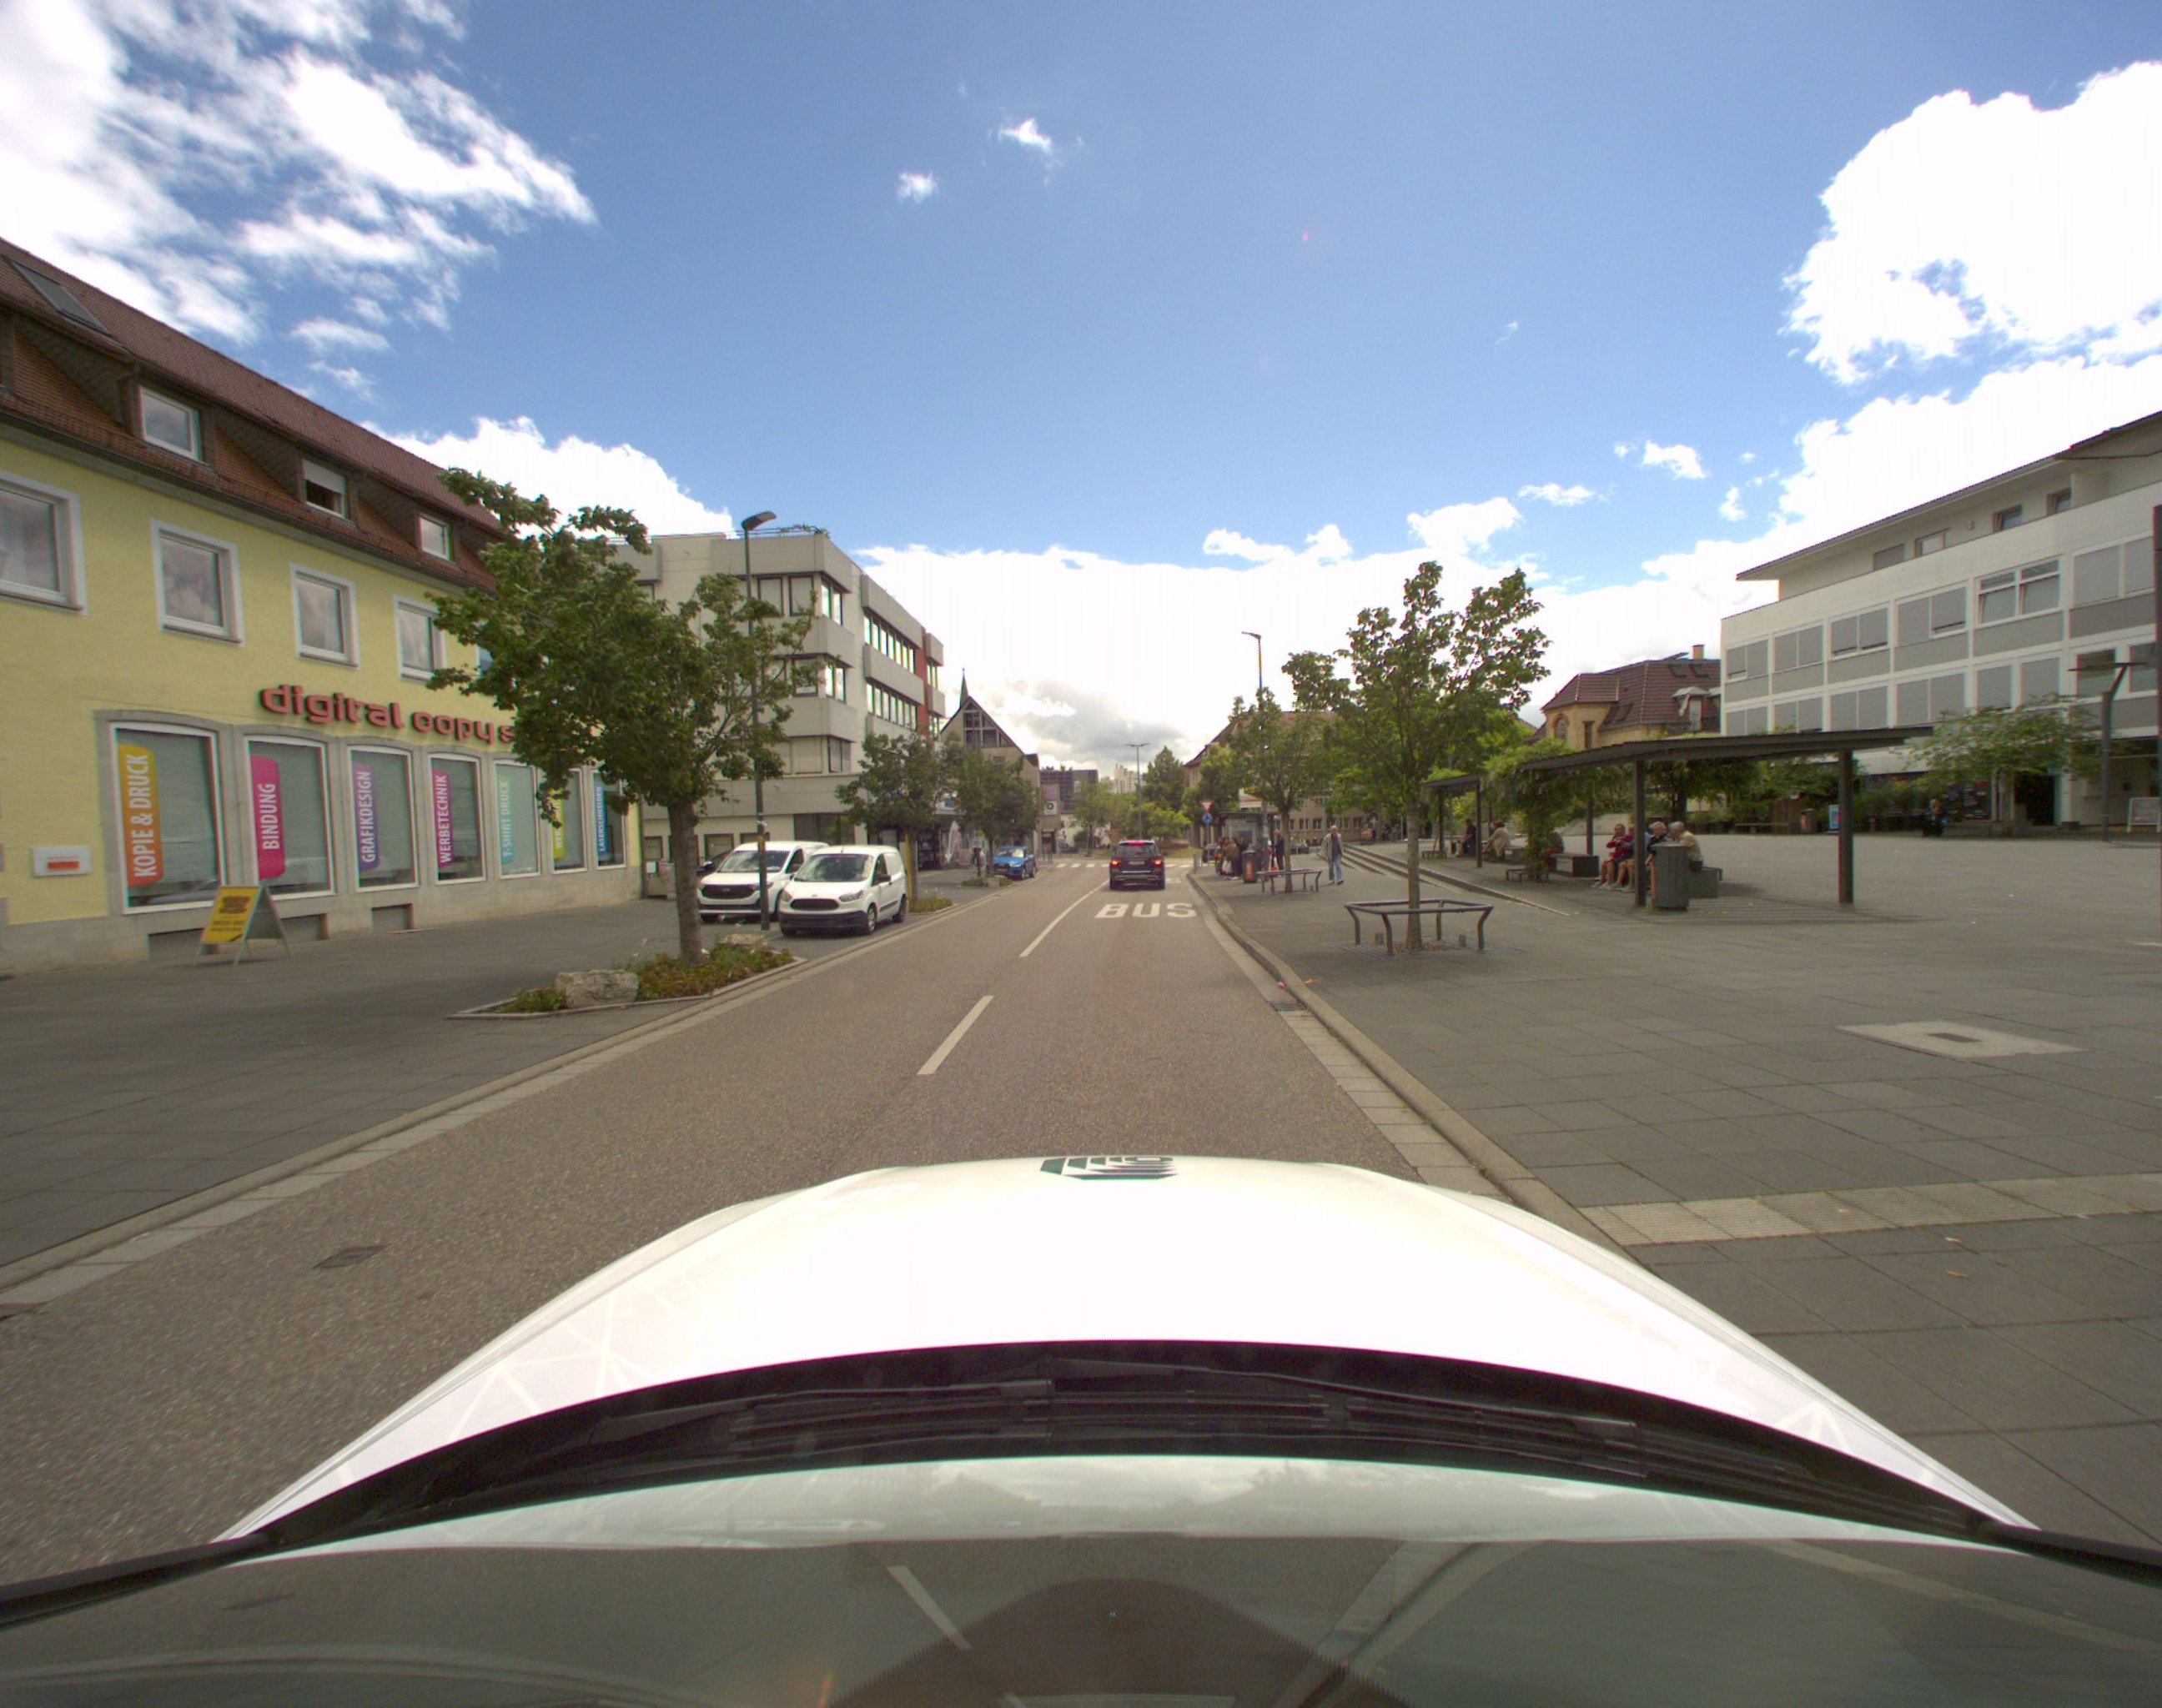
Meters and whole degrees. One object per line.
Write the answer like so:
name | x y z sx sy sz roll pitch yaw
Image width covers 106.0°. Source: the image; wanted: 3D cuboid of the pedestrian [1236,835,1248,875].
pedestrian | 6.394 0.025 32.298 0.391 1.566 0.353 -3 0 8

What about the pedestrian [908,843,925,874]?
pedestrian | -8.625 0.220 42.717 0.639 1.566 0.588 -3 0 7

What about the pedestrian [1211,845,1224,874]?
pedestrian | 5.818 0.237 34.723 0.399 1.226 0.390 -2 0 27

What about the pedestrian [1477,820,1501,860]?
pedestrian | 12.932 -0.438 25.814 0.563 1.227 0.568 -1 1 14

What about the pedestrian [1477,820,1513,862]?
pedestrian | 12.626 -0.391 24.837 0.680 1.269 0.762 -2 1 -41

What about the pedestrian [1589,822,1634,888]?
pedestrian | 10.587 0.006 16.261 0.565 1.262 0.543 -2 3 8

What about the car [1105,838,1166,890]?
car | 2.063 0.397 29.607 2.017 1.727 4.440 -1 -1 6

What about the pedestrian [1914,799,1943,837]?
pedestrian | 30.014 -1.277 28.846 0.570 1.323 0.541 -1 1 -22

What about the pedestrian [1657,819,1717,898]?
pedestrian | 10.551 0.071 14.192 0.612 1.320 0.587 -2 3 8

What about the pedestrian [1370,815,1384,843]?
pedestrian | 16.176 -1.386 44.493 0.503 1.508 0.452 -2 1 -11

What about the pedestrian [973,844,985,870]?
pedestrian | -6.312 0.169 50.224 0.584 1.588 0.640 -1 0 6

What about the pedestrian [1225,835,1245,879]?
pedestrian | 5.588 0.111 29.624 0.508 1.549 0.490 -2 0 31

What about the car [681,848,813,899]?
car | -10.894 0.606 26.726 3.618 1.558 1.667 -1 0 -3

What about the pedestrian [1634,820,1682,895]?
pedestrian | 10.590 0.056 14.959 0.492 1.320 0.576 -2 3 8

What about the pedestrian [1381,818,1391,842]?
pedestrian | 16.786 -1.302 44.864 0.360 1.285 0.643 -2 1 10

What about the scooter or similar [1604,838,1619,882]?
scooter or similar | 11.129 0.125 17.083 0.246 0.894 0.510 -1 3 35

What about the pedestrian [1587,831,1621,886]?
pedestrian | 10.736 0.087 16.727 0.473 1.088 0.369 -2 3 8

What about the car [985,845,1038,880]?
car | -3.347 0.383 40.138 1.685 1.599 4.340 1 1 7

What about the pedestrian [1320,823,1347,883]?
pedestrian | 7.274 -0.023 23.498 0.679 1.682 0.717 -2 0 15

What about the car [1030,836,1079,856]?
car | -3.642 -1.100 111.638 6.299 2.560 2.193 0 -2 -17

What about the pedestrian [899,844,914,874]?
pedestrian | -9.287 0.255 43.351 0.507 1.566 0.587 -3 0 5

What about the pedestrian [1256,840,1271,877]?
pedestrian | 6.653 0.170 29.696 0.387 1.306 0.355 -4 0 6

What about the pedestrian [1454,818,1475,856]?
pedestrian | 13.510 -0.594 28.681 0.563 1.323 0.547 -1 1 14

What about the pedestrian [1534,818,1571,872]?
pedestrian | 11.970 -0.231 20.676 0.620 1.307 0.547 -3 1 8

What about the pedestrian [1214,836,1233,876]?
pedestrian | 5.641 0.078 32.284 0.500 1.566 0.495 -3 0 -13

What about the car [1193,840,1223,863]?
car | 9.425 -0.224 60.165 2.039 1.588 4.386 1 1 11

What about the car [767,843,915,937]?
car | -4.747 0.632 16.787 1.650 1.672 4.352 0 0 1

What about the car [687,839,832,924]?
car | -7.517 0.572 19.556 1.751 1.814 4.475 0 0 -1

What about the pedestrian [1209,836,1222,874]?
pedestrian | 5.843 0.044 35.308 0.383 1.619 0.471 -4 0 20

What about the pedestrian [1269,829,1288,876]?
pedestrian | 7.178 -0.068 29.614 0.509 1.680 0.577 -3 0 4

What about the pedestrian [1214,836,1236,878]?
pedestrian | 5.330 0.108 30.071 0.489 1.549 0.537 -3 0 -41

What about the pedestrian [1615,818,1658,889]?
pedestrian | 10.613 -0.018 15.569 0.495 1.320 0.526 -2 3 9
